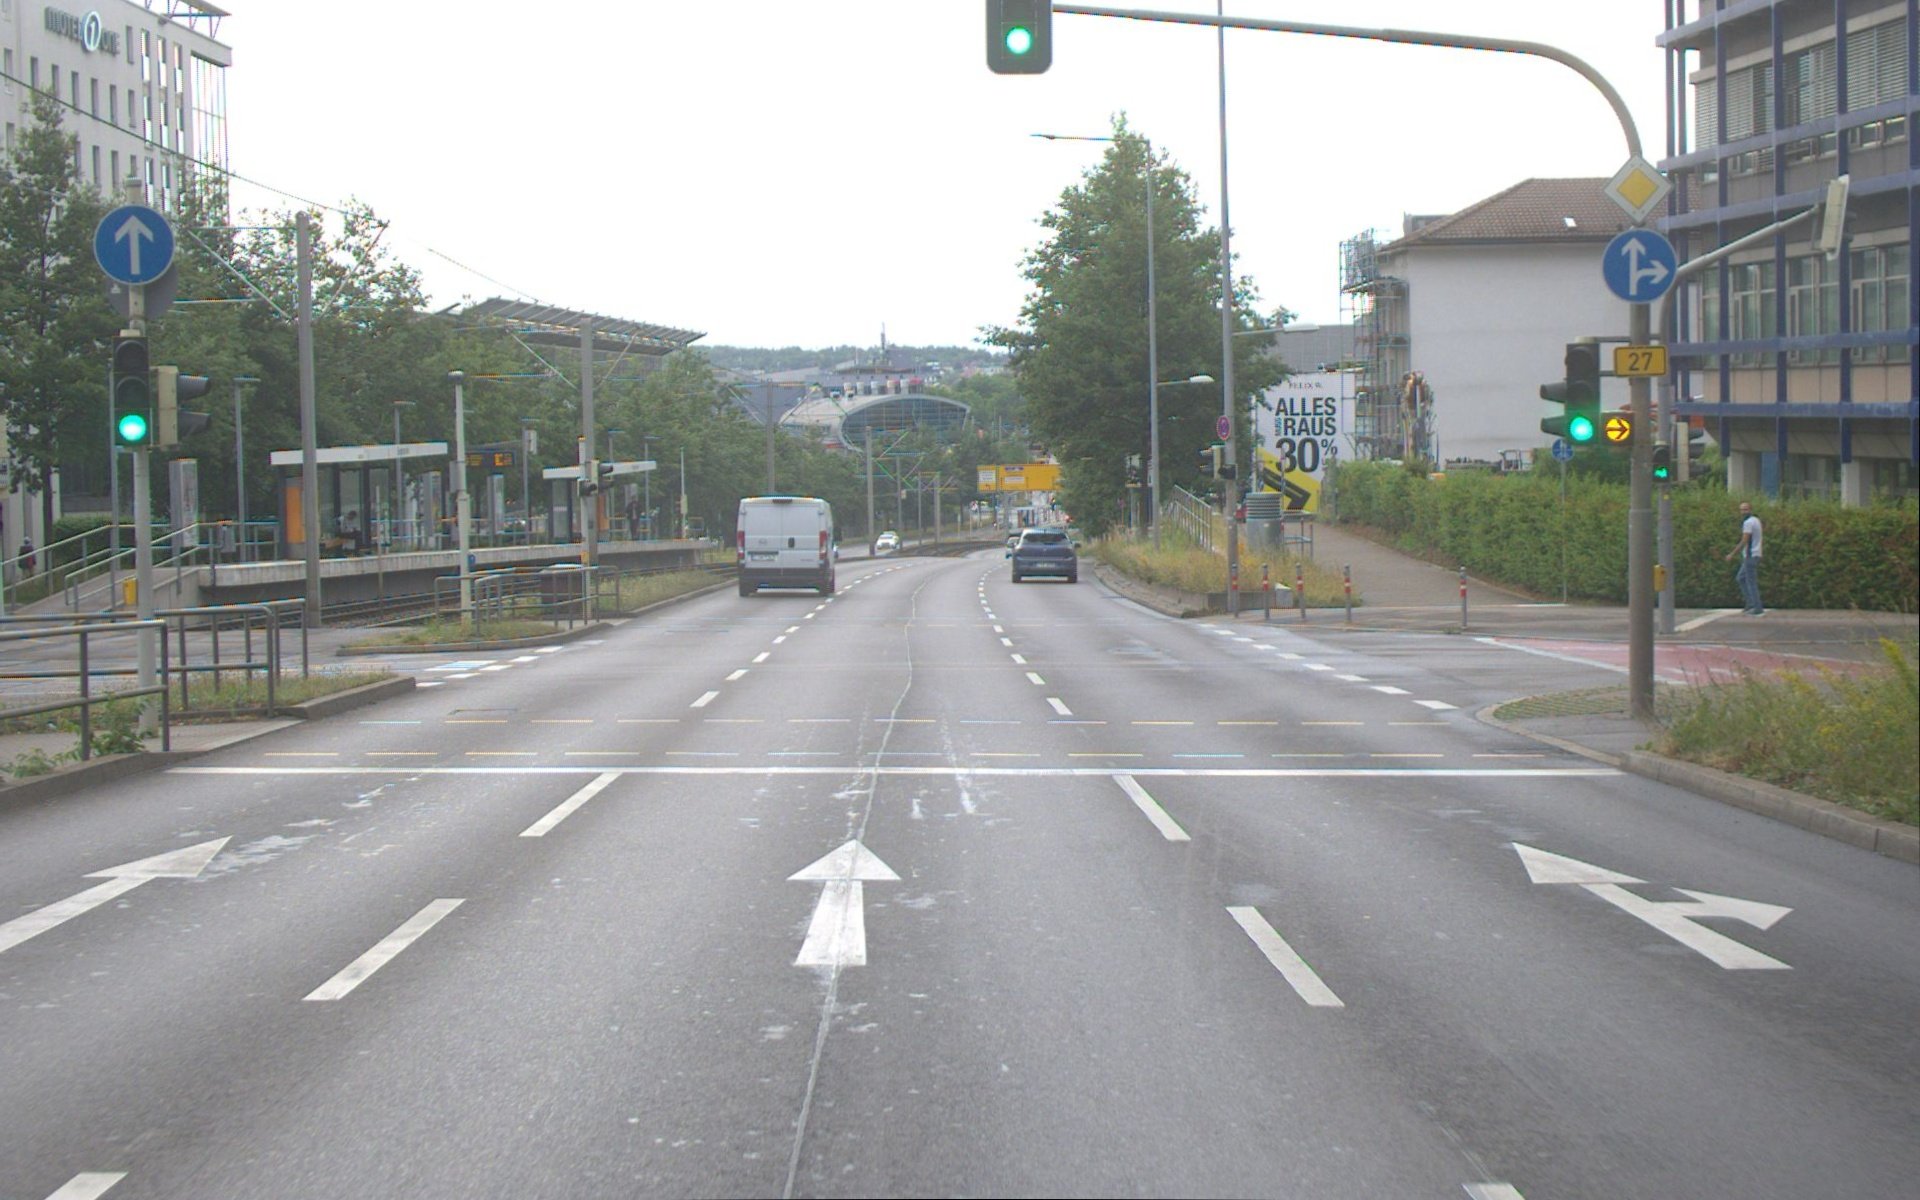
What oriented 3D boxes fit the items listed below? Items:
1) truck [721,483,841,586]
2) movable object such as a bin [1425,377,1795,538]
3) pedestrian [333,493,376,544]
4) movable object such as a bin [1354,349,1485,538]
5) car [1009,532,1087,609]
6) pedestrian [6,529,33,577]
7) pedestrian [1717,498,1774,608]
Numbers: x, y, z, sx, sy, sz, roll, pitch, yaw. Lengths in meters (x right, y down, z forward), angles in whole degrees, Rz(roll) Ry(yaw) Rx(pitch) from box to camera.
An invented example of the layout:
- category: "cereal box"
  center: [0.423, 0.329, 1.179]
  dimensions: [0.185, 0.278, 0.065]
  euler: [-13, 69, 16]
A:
- category: "truck"
  center: [-4.046, -1.481, 78.625]
  dimensions: [2.360, 2.254, 5.306]
  euler: [1, 1, 1]
- category: "movable object such as a bin"
  center: [22.696, -4.963, 120.611]
  dimensions: [12.141, 5.243, 3.789]
  euler: [-1, 1, 0]
- category: "pedestrian"
  center: [-15.788, -2.130, 89.635]
  dimensions: [0.961, 1.295, 0.684]
  euler: [-1, 1, 1]
- category: "movable object such as a bin"
  center: [14.524, -4.863, 109.356]
  dimensions: [3.290, 5.665, 8.763]
  euler: [1, 1, 3]
- category: "car"
  center: [2.414, -0.812, 93.233]
  dimensions: [1.994, 2.007, 3.934]
  euler: [1, 1, 3]
- category: "pedestrian"
  center: [-30.841, -1.540, 112.744]
  dimensions: [0.600, 1.572, 0.835]
  euler: [1, 1, 2]
- category: "pedestrian"
  center: [11.854, -0.710, 51.907]
  dimensions: [0.554, 1.646, 0.832]
  euler: [-1, 1, -10]
